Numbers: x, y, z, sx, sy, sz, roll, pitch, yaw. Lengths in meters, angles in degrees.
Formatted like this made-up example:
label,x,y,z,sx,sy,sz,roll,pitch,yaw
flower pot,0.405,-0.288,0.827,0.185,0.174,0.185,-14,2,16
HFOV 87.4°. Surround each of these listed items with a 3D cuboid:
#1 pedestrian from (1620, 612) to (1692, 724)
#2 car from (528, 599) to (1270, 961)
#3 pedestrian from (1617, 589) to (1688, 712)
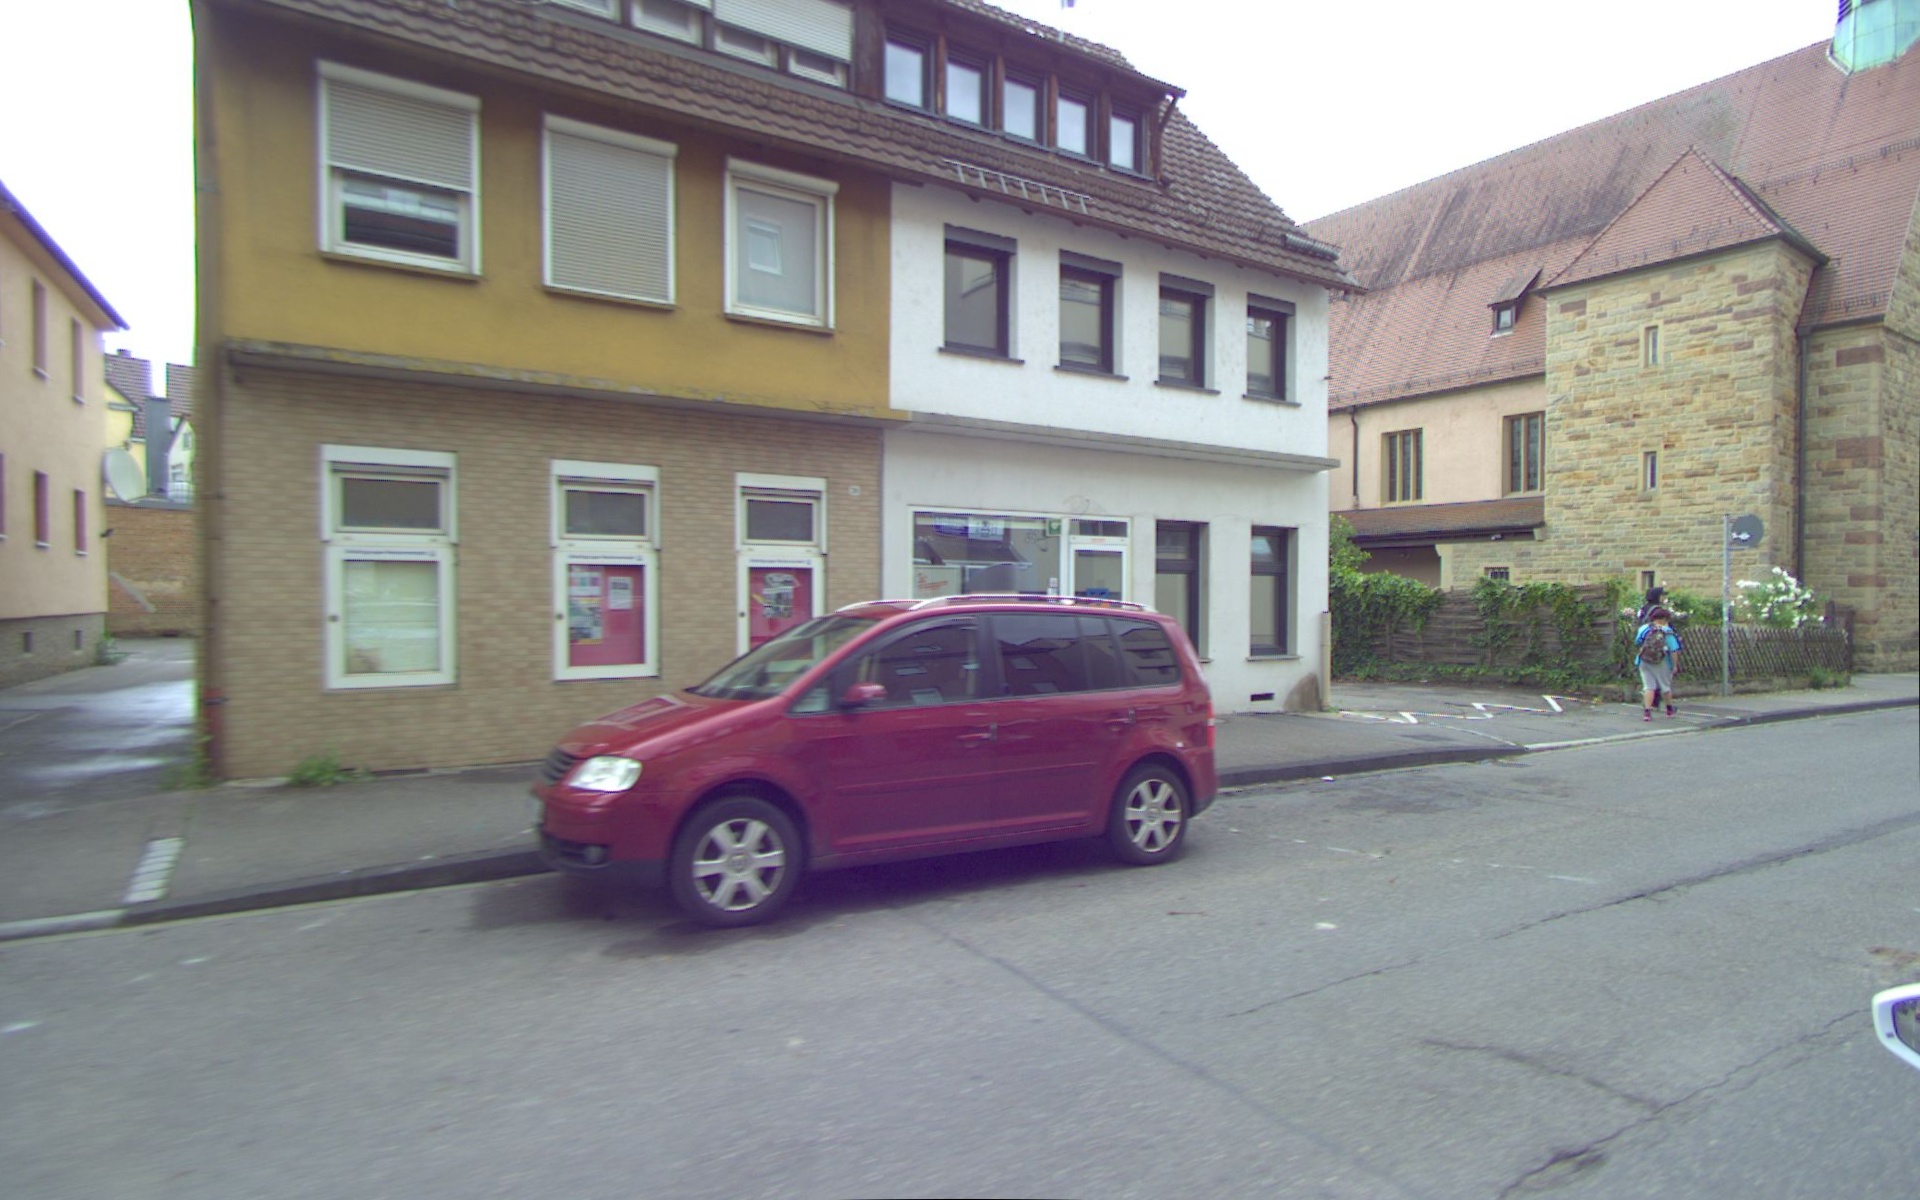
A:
label,x,y,z,sx,sy,sz,roll,pitch,yaw
pedestrian,10.204,0.975,14.728,0.688,1.575,0.568,1,2,-30
car,-0.236,0.833,6.320,4.400,1.595,1.694,0,-2,-31
pedestrian,10.883,0.779,15.789,0.688,1.873,0.568,1,3,-30
